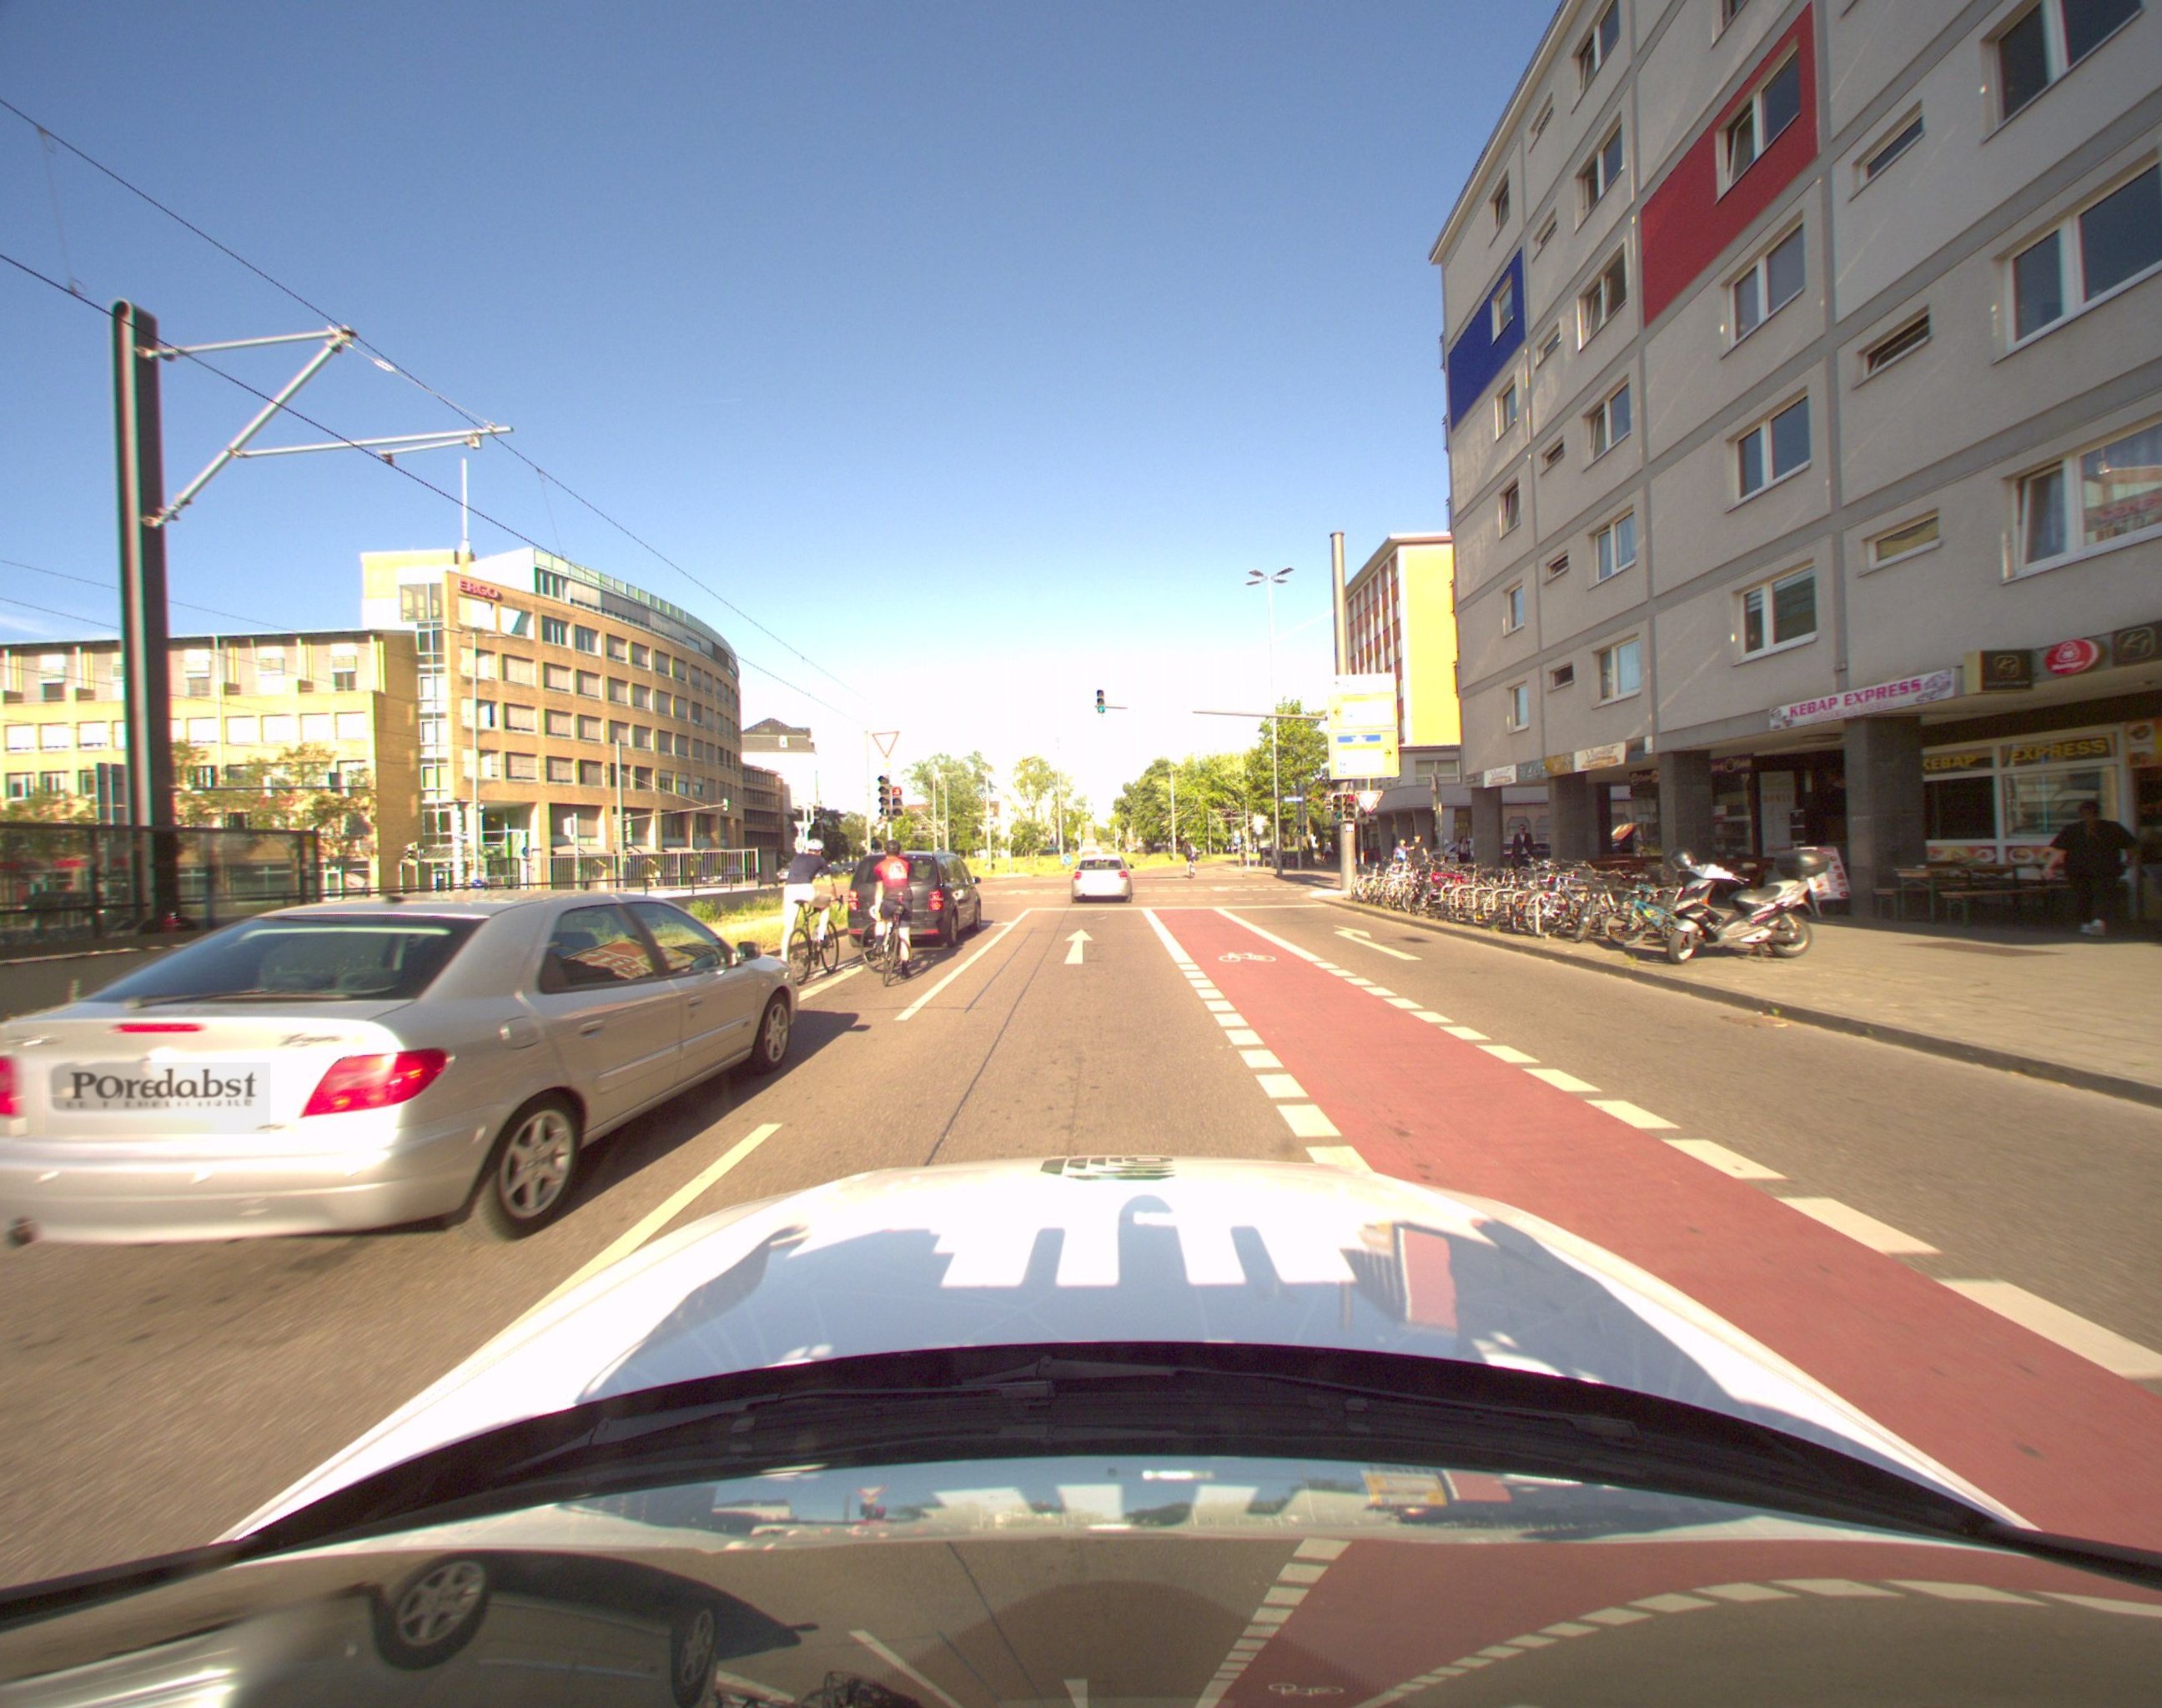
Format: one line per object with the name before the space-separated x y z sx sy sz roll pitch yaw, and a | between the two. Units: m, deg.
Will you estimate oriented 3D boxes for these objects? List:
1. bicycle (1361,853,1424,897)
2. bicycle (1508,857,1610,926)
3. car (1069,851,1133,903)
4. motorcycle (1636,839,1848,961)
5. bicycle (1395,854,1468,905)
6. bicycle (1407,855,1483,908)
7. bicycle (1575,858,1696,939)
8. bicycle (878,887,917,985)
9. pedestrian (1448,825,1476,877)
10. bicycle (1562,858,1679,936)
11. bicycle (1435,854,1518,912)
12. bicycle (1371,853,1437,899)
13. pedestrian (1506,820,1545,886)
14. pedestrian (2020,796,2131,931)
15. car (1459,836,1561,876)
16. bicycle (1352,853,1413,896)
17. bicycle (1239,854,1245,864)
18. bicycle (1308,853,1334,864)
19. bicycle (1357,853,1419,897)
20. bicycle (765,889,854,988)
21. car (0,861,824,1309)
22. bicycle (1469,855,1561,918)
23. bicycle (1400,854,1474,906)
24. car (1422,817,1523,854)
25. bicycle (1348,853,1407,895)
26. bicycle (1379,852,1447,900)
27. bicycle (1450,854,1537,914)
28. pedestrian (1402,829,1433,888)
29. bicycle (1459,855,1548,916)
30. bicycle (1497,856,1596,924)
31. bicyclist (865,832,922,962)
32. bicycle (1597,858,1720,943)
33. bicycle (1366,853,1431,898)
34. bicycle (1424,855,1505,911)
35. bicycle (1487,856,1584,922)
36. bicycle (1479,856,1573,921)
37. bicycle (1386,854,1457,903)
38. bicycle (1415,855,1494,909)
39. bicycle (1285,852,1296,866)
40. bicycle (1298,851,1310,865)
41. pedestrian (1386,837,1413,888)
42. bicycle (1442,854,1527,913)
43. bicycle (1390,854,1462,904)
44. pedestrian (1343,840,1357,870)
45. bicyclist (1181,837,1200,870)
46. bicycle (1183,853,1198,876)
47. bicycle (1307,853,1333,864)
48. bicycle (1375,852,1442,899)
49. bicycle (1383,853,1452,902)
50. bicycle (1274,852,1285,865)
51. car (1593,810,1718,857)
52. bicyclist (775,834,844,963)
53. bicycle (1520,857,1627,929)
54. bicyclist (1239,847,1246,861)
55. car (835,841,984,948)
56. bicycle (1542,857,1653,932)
bicycle | 7.973 0.541 20.864 1.459 1.067 0.257 -3 -1 3
bicycle | 7.861 0.612 13.417 1.459 1.067 0.257 -3 -1 3
car | 0.668 0.637 25.164 1.791 1.415 4.003 -2 0 3
motorcycle | 7.722 0.528 9.583 1.846 1.301 0.653 -3 -1 4
bicycle | 7.819 0.574 18.182 1.459 1.067 0.257 -3 -1 3
bicycle | 7.820 0.589 17.514 1.459 1.067 0.257 -3 -1 3
bicycle | 7.870 0.627 11.581 1.459 1.067 0.257 -3 -1 3
bicycle | -2.309 0.989 10.334 0.338 1.056 1.773 0 0 -8
pedestrian | 15.030 -0.115 32.169 0.870 2.013 0.916 0 0 16
bicycle | 7.892 0.627 11.928 1.459 1.067 0.257 -3 -1 3
bicycle | 7.872 0.575 16.236 1.459 1.067 0.257 -3 -1 3
bicycle | 7.955 0.538 20.098 1.459 1.067 0.257 -3 -1 3
pedestrian | 13.816 -0.031 25.342 0.838 2.013 0.892 0 0 11
pedestrian | 12.229 0.112 10.027 0.552 1.582 0.575 -4 0 2
car | 22.621 0.111 43.085 4.343 2.013 1.974 0 0 3
bicycle | 7.984 0.542 21.587 1.459 1.067 0.257 -3 -1 3
bicycle | 15.323 0.470 77.421 0.350 0.958 1.574 0 0 3
bicycle | 22.989 0.425 78.077 2.297 1.068 0.559 0 0 24
bicycle | 8.008 0.549 21.272 1.459 1.067 0.257 -3 -1 3
bicycle | -3.374 1.007 10.278 0.372 1.056 1.957 0 0 3
car | -2.983 0.773 4.661 1.638 1.421 4.001 -1 0 2
bicycle | 7.892 0.596 14.836 1.459 1.067 0.257 -3 -1 3
bicycle | 7.806 0.577 17.868 1.459 1.067 0.257 -3 -1 3
car | 22.151 -1.024 46.251 4.709 2.013 2.261 0 0 3
bicycle | 7.988 0.538 21.962 1.459 1.067 0.257 -3 -1 3
bicycle | 7.921 0.528 19.463 1.459 1.067 0.257 -3 -1 3
bicycle | 7.862 0.574 15.525 1.459 1.067 0.257 -3 -1 3
pedestrian | 11.710 0.158 28.369 0.786 2.013 0.872 0 0 8
bicycle | 7.872 0.581 15.182 1.459 1.067 0.257 -3 -1 3
bicycle | 7.873 0.603 13.789 1.459 1.067 0.257 -3 -1 3
bicyclist | -2.367 0.527 10.355 0.616 1.571 0.684 -2 0 -10
bicycle | 7.871 0.629 11.115 1.461 1.067 0.257 -3 -1 -2
bicycle | 7.982 0.544 20.488 1.459 1.067 0.257 -3 -1 3
bicycle | 7.842 0.587 16.664 1.459 1.067 0.257 -3 -1 3
bicycle | 7.883 0.605 14.134 1.459 1.067 0.257 -3 -1 3
bicycle | 7.888 0.610 14.457 1.459 1.067 0.257 -3 -1 3
bicycle | 7.869 0.563 18.828 1.459 1.067 0.257 -3 -1 3
bicycle | 7.821 0.582 17.079 1.459 1.067 0.257 -3 -1 3
bicycle | 16.246 0.386 63.134 0.415 1.008 1.945 0 0 1
bicycle | 17.215 0.306 62.762 0.415 1.008 1.945 0 0 1
pedestrian | 11.774 0.304 30.140 0.819 1.856 0.921 0 0 16
bicycle | 7.866 0.575 15.893 1.459 1.067 0.257 -3 -1 3
bicycle | 7.829 0.571 18.486 1.459 1.067 0.257 -3 -1 3
pedestrian | 17.468 0.046 52.854 0.704 1.919 0.705 0 0 5
bicyclist | 5.193 -0.009 38.686 0.782 1.531 0.895 0 0 1
bicycle | 5.183 0.486 38.716 0.497 1.088 1.998 0 0 2
bicycle | 22.721 0.414 77.497 2.297 1.068 0.559 0 0 24
bicycle | 7.938 0.524 19.772 1.459 1.067 0.257 -3 -1 3
bicycle | 7.899 0.551 19.144 1.459 1.067 0.257 -3 -1 3
bicycle | 15.486 0.375 63.569 0.415 1.008 1.945 0 0 1
car | 28.008 -0.977 39.823 4.574 2.212 2.190 0 0 3
bicyclist | -3.400 0.540 10.237 0.614 1.572 0.687 0 0 3
bicycle | 7.823 0.618 12.947 1.459 1.067 0.257 -3 -1 3
bicyclist | 15.353 0.007 77.443 0.614 1.380 0.687 0 0 3
car | -2.930 0.626 14.802 1.698 1.622 4.002 -2 0 2
bicycle | 7.923 0.618 12.509 1.459 1.067 0.257 -3 -1 3
